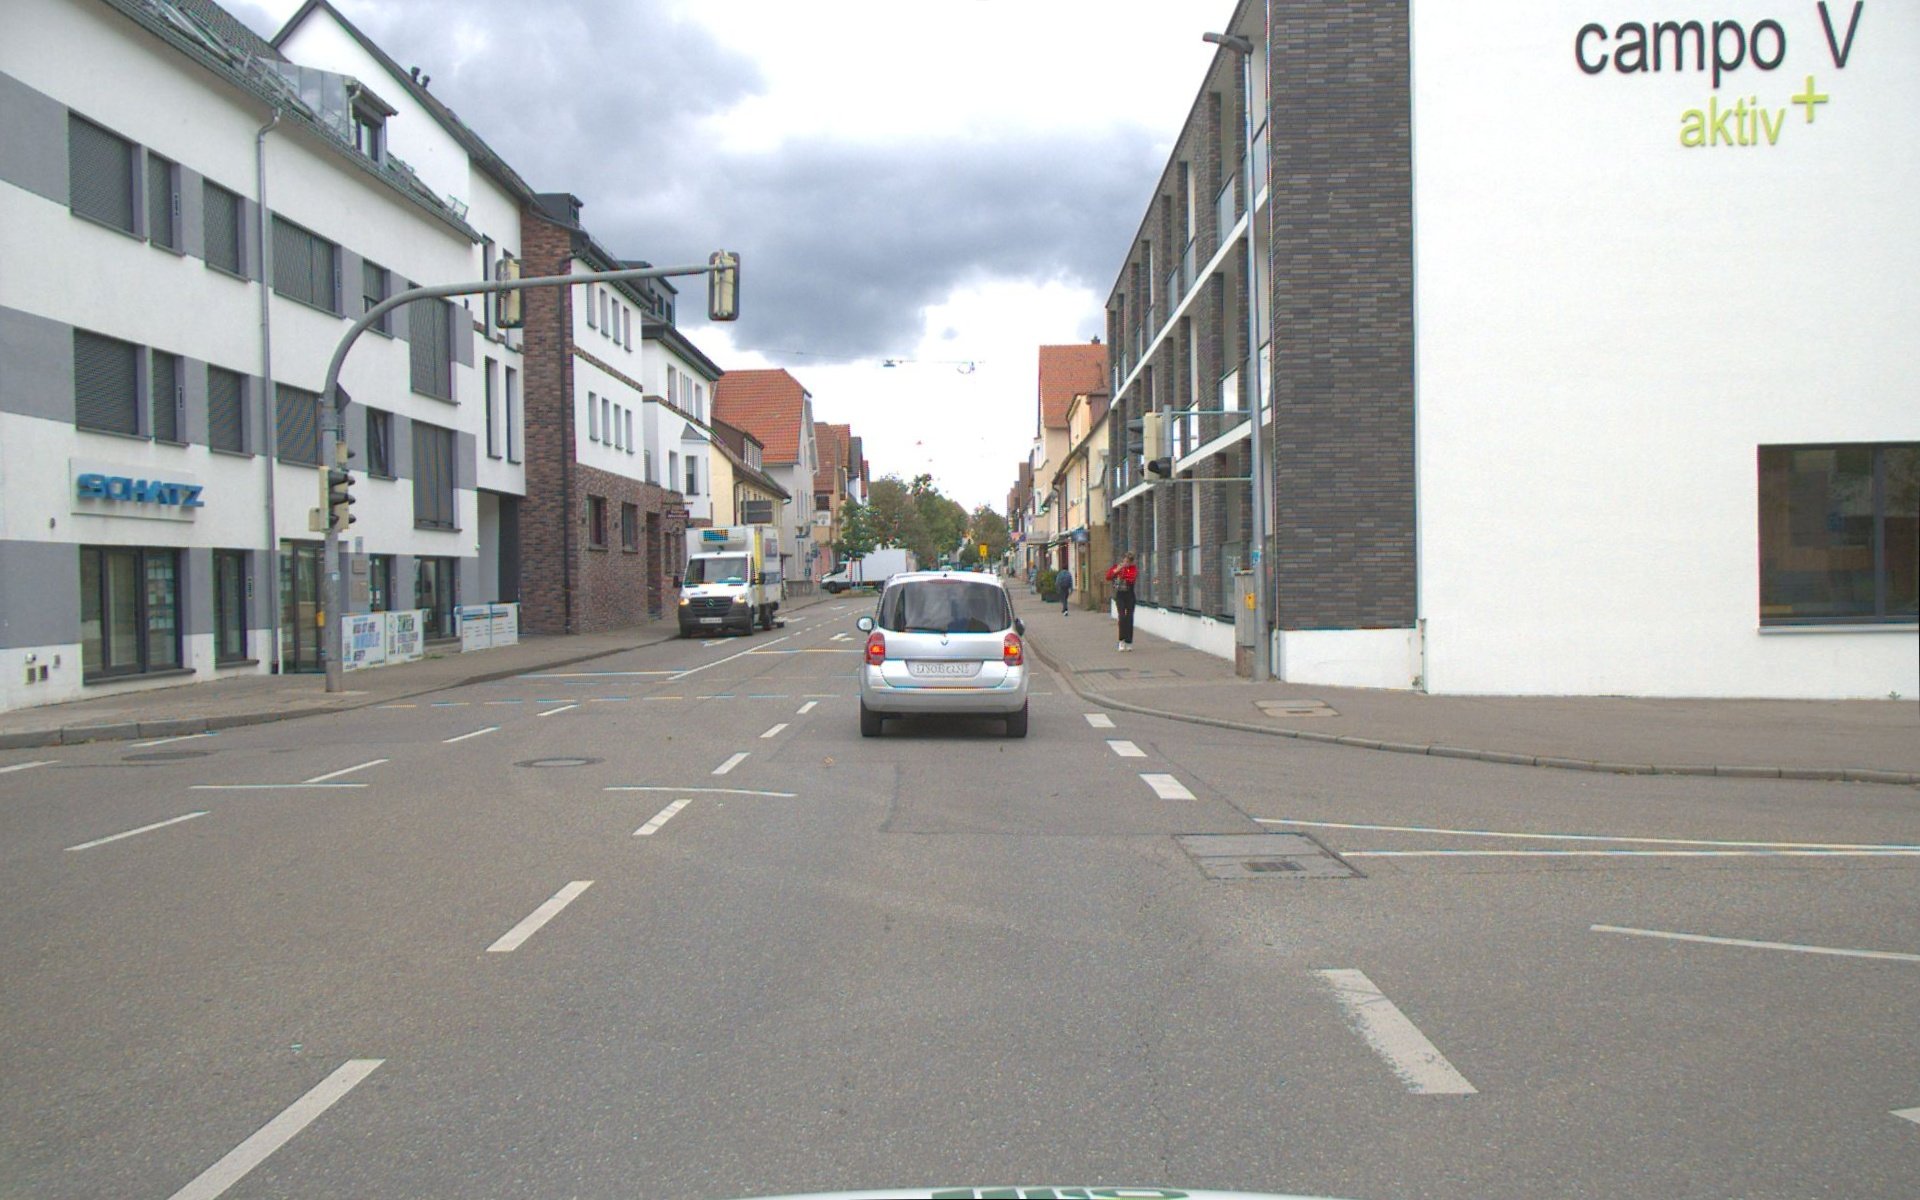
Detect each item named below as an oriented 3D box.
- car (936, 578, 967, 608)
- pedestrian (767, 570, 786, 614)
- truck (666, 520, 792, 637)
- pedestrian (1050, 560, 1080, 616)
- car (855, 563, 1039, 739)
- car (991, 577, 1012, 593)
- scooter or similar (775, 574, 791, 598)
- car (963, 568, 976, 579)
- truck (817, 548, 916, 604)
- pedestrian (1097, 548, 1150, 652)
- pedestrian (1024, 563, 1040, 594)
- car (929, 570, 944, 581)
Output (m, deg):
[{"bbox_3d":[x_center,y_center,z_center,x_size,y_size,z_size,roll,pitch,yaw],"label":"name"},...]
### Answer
[{"bbox_3d":[-0.476,-0.404,93.361,1.671,1.606,4.000,1,1,0],"label":"car"},{"bbox_3d":[-7.491,-0.328,67.600,0.648,1.787,0.688,1,1,0],"label":"pedestrian"},{"bbox_3d":[-6.502,-0.621,47.736,2.385,3.005,8.364,-2,1,0],"label":"truck"},{"bbox_3d":[3.530,-0.416,55.831,0.871,1.817,0.785,-3,1,0],"label":"pedestrian"},{"bbox_3d":[-0.124,0.443,17.263,1.671,1.606,4.000,1,1,0],"label":"car"},{"bbox_3d":[3.693,-1.344,146.230,1.775,1.377,4.001,-2,1,1],"label":"car"},{"bbox_3d":[-9.799,-0.799,91.725,0.563,1.291,2.549,-2,1,1],"label":"scooter or similar"},{"bbox_3d":[1.378,-3.733,233.495,1.775,1.377,4.001,-2,1,1],"label":"car"},{"bbox_3d":[-6.742,-1.763,119.756,6.680,3.925,2.606,-1,1,12],"label":"truck"},{"bbox_3d":[2.984,-0.003,30.210,0.791,1.817,0.861,-3,1,1],"label":"pedestrian"},{"bbox_3d":[4.325,-1.278,99.208,0.871,1.817,0.785,-3,1,0],"label":"pedestrian"},{"bbox_3d":[-2.910,-3.076,207.333,1.775,1.377,3.858,-2,1,1],"label":"car"}]
